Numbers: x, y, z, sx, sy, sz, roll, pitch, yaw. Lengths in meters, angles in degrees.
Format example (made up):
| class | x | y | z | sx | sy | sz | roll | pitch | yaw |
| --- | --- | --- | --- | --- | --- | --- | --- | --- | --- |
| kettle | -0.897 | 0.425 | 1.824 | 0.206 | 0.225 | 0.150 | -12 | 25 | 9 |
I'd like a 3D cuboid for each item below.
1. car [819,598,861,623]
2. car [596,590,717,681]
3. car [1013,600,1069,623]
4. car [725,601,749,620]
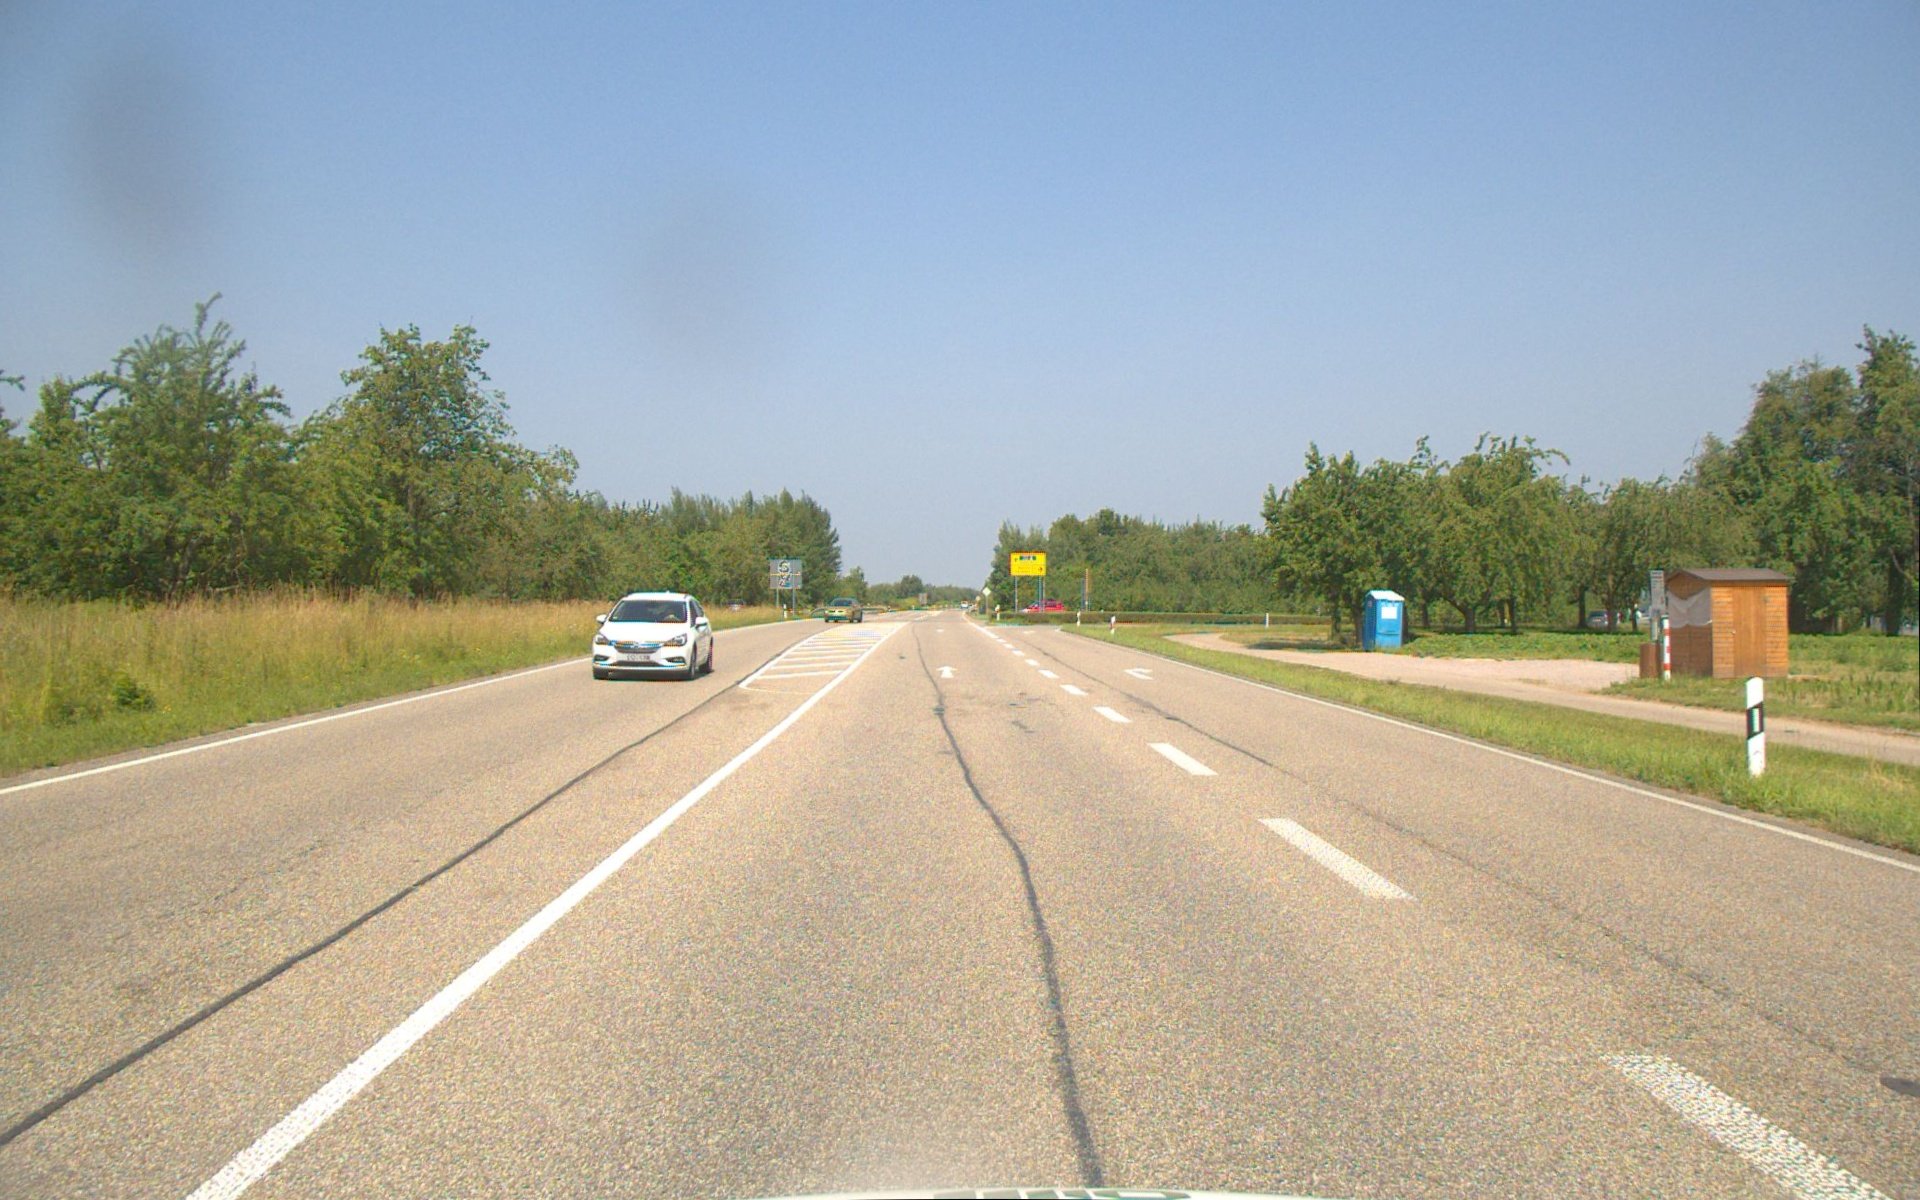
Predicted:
| class | x | y | z | sx | sy | sz | roll | pitch | yaw |
| --- | --- | --- | --- | --- | --- | --- | --- | --- | --- |
| car | -7.263 | 0.628 | 100.399 | 1.661 | 1.441 | 3.828 | 0 | 0 | 9 |
| car | -5.472 | 0.601 | 30.235 | 1.641 | 1.520 | 4.134 | 1 | 0 | -3 |
| car | 5.865 | 0.833 | 120.020 | 3.676 | 1.519 | 1.666 | 1 | 0 | -14 |
| car | -17.292 | 0.833 | 128.418 | 1.671 | 1.448 | 4.039 | 0 | 0 | -5 |
